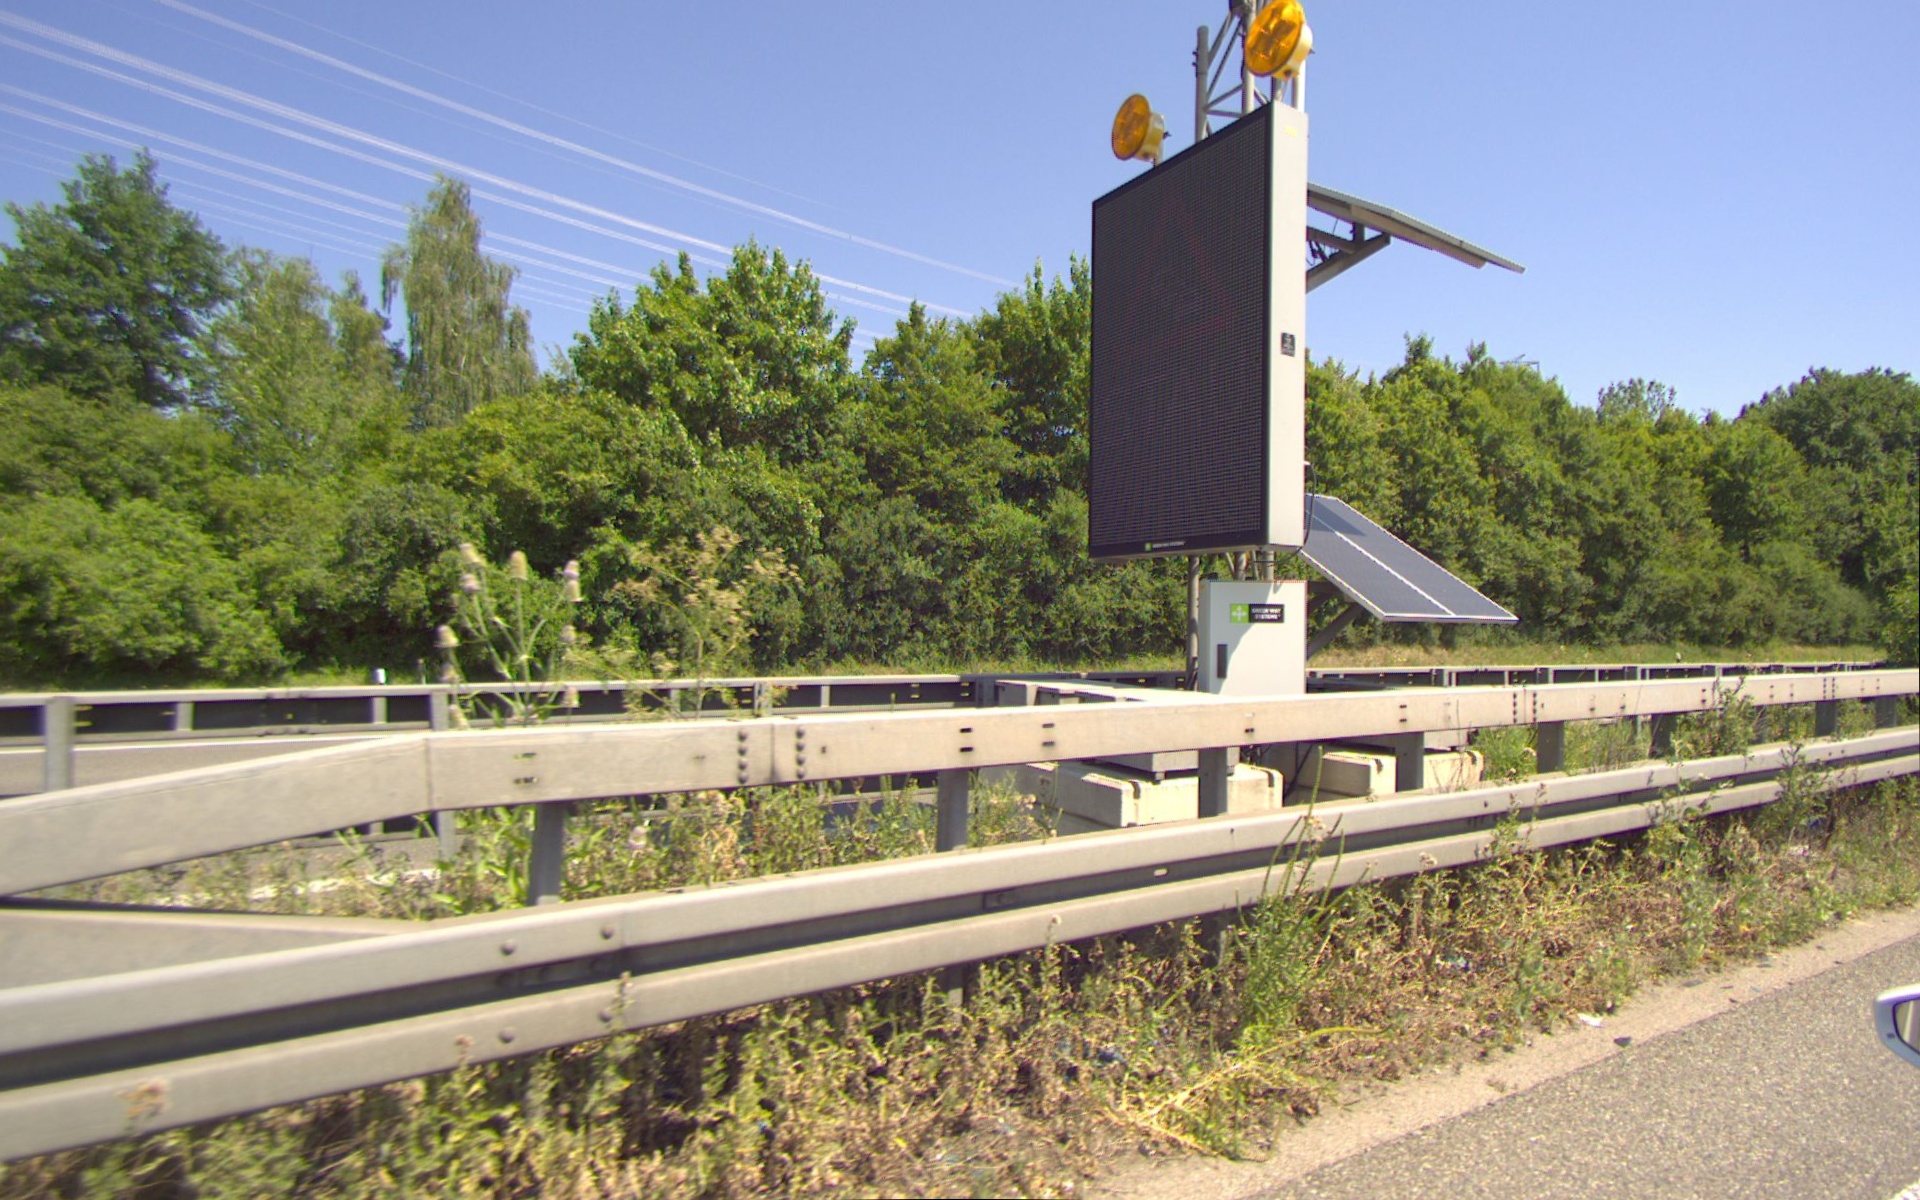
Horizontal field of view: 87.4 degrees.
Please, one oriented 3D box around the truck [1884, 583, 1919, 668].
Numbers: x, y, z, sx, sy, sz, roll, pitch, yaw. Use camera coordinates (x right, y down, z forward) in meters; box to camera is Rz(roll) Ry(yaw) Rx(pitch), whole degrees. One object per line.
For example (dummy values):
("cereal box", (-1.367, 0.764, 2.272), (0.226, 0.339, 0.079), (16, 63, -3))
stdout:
("truck", (48.074, 1.279, 47.925), (10.664, 3.852, 2.981), (2, -2, -31))
